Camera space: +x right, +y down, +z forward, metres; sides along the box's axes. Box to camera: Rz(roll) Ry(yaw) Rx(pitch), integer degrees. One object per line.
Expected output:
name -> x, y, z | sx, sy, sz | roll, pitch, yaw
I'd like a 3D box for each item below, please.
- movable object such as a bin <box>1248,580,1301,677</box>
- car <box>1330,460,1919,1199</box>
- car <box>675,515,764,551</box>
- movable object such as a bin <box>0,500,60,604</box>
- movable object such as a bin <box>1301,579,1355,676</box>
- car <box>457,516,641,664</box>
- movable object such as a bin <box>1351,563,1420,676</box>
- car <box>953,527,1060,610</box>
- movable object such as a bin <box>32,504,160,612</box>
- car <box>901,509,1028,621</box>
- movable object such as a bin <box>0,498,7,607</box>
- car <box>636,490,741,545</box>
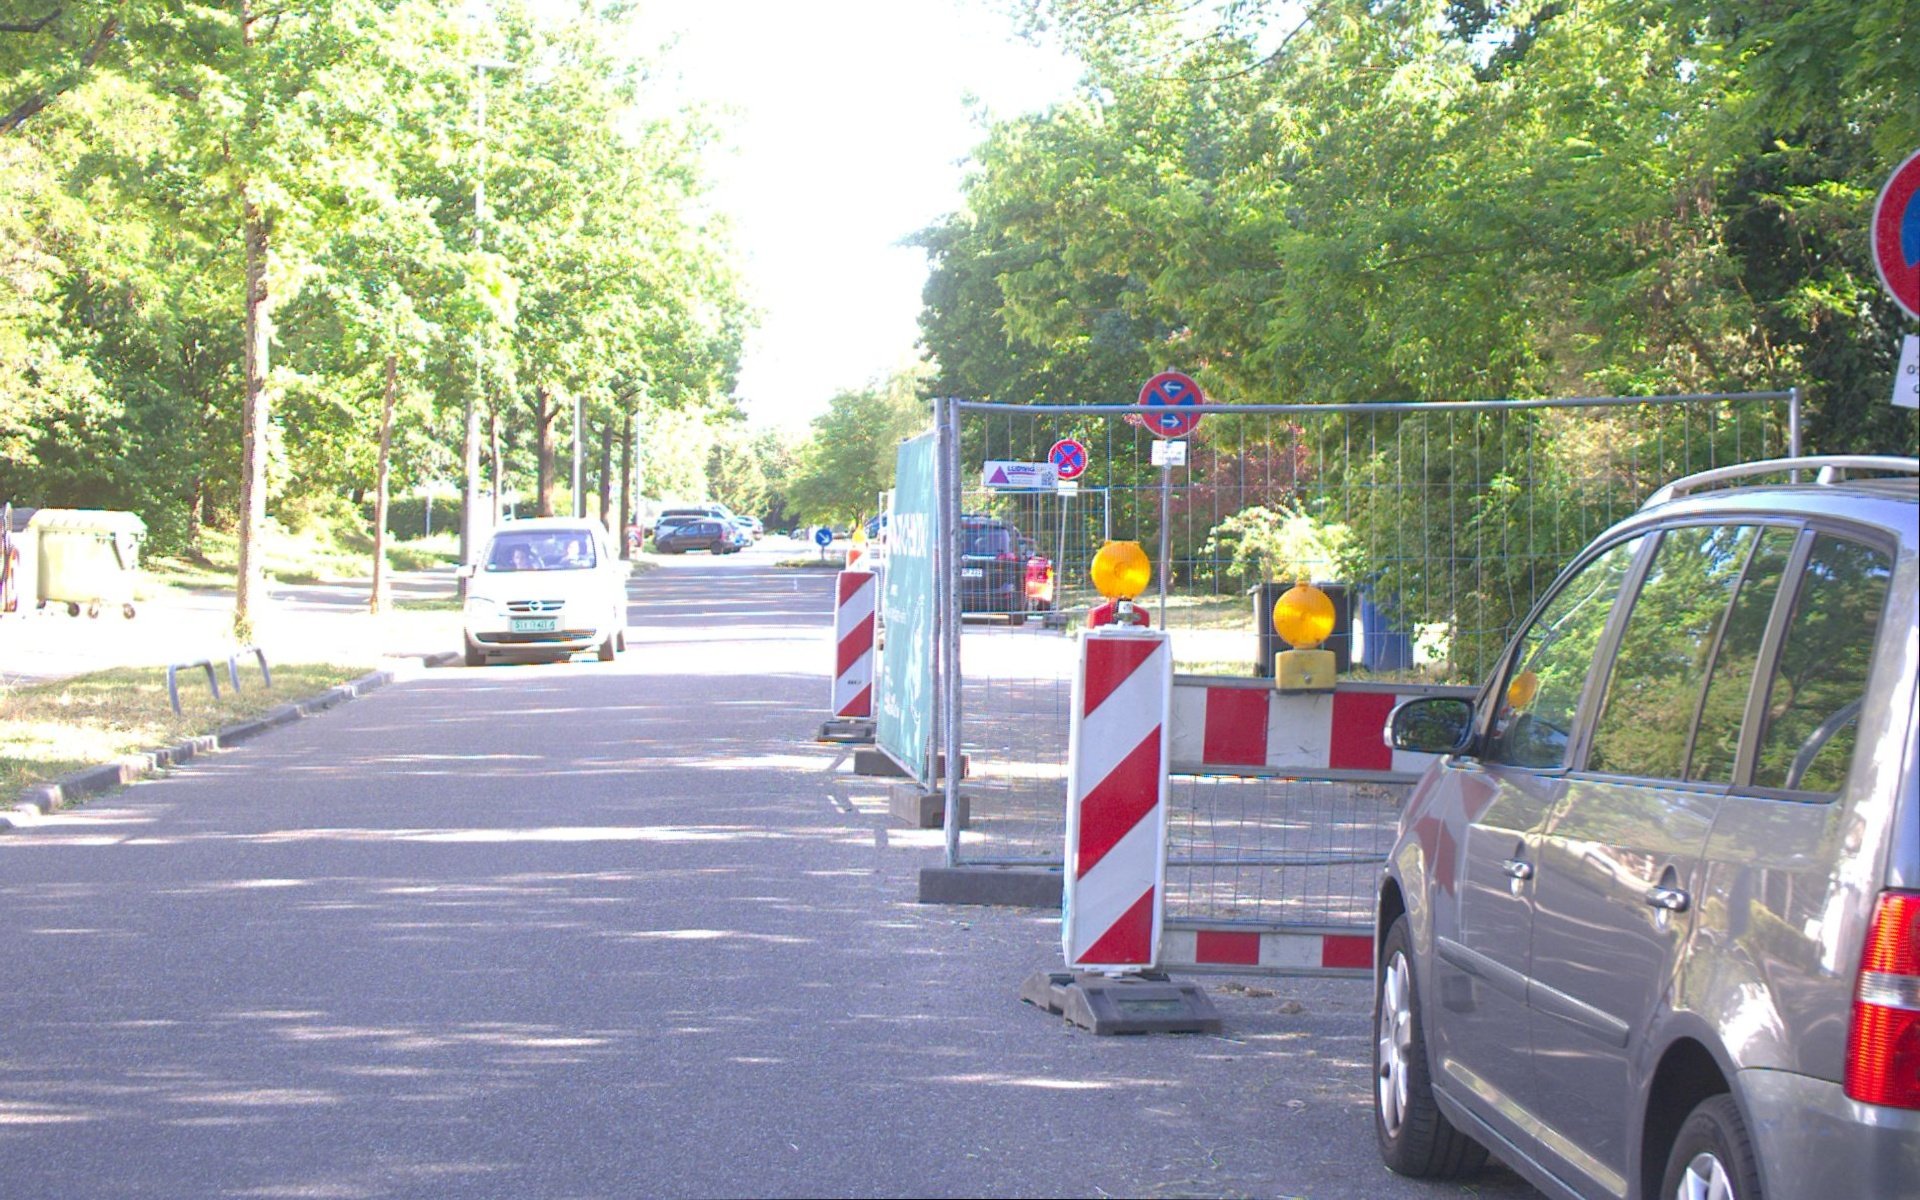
movable object such as a bin -> 2.858, 0.256, 31.249 | 0.413, 0.867, 0.484 | -1, 1, -1
car -> 1.899, 0.594, 6.659 | 1.678, 1.616, 4.138 | 2, 1, -3
car -> -11.698, -3.279, 167.507 | 4.106, 1.571, 1.958 | 2, 1, 0
movable object such as a bin -> -13.353, -0.678, 48.023 | 1.141, 1.430, 1.273 | -1, 2, -35
movable object such as a bin -> 3.348, 0.246, 31.278 | 0.413, 0.867, 0.484 | -1, 1, -1
car -> -4.677, -0.157, 39.602 | 1.659, 1.590, 4.009 | 1, 1, -1
movable object such as a bin -> 3.867, 0.172, 31.245 | 0.518, 0.996, 0.608 | -1, 1, -1
car -> 0.799, -0.585, 61.836 | 1.661, 1.371, 4.155 | 2, 1, -2
movable object such as a bin -> -11.664, -0.571, 46.425 | 1.270, 1.430, 1.181 | 1, 1, 14
car -> 0.109, -0.587, 55.006 | 1.810, 1.645, 4.421 | 2, 1, 2
movable object such as a bin -> -13.463, -0.627, 45.166 | 1.271, 1.430, 1.324 | 1, 1, 26
car -> -13.944, -4.234, 176.381 | 5.198, 2.612, 2.294 | 2, 1, -6
